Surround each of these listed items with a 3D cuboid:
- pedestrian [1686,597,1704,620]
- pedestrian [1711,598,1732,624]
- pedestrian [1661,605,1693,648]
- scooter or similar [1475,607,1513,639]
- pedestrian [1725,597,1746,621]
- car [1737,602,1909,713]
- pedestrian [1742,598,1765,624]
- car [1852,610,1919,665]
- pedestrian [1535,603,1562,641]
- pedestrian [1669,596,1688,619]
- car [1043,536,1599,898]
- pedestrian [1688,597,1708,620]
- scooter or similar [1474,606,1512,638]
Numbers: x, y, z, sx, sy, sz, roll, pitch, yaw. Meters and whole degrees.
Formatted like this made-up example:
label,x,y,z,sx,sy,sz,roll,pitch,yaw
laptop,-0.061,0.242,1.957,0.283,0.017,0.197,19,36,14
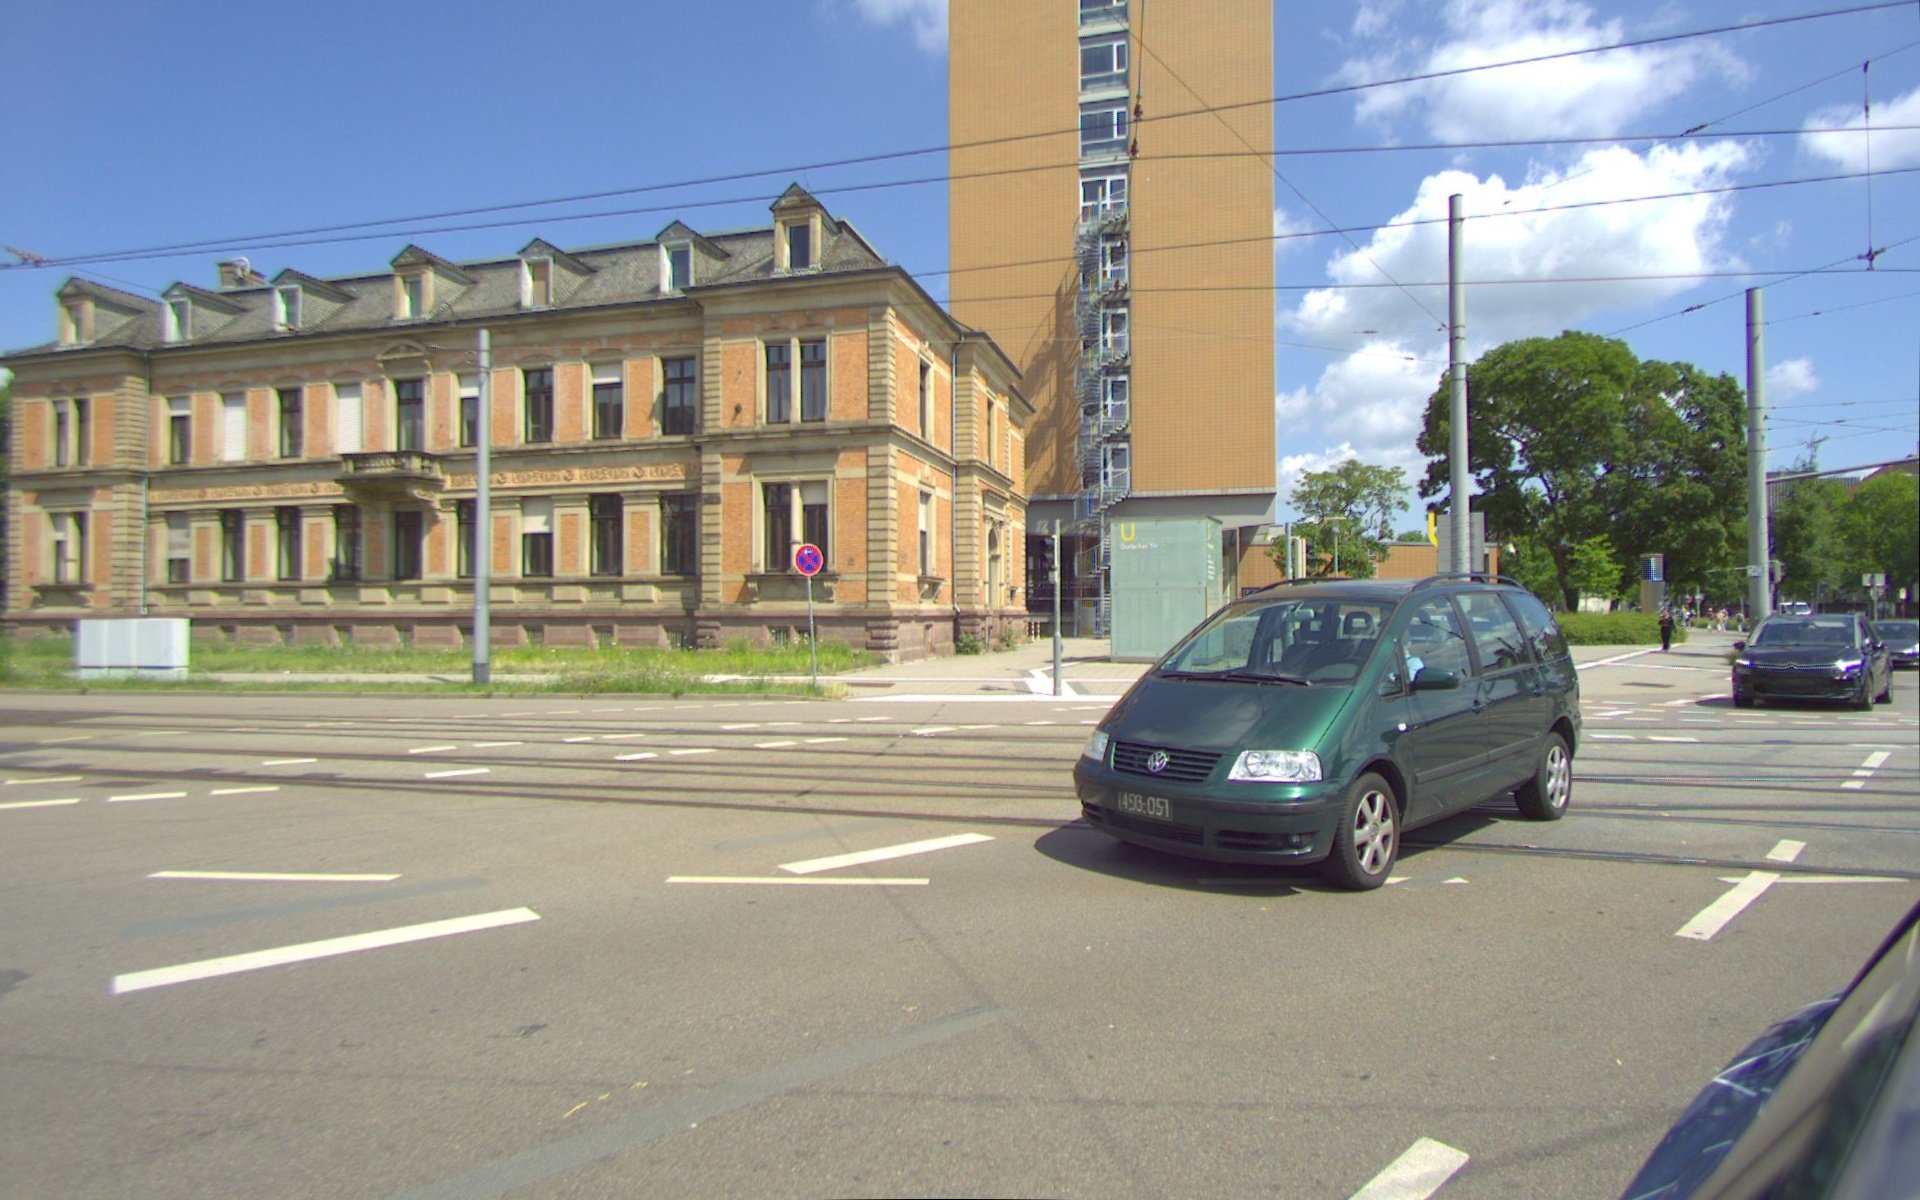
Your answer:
label,x,y,z,sx,sy,sz,roll,pitch,yaw
pedestrian,56.844,0.647,78.313,1.056,1.799,0.975,-1,-1,34
pedestrian,52.190,0.741,69.369,1.145,1.711,1.294,-1,-1,36
pedestrian,27.133,0.978,38.313,0.754,1.606,0.829,1,-1,-41
scooter or similar,20.980,0.898,39.800,1.305,1.239,0.602,-1,-1,28
pedestrian,55.321,0.636,72.220,1.145,1.711,1.294,-1,-1,36
car,15.219,0.885,17.772,4.353,1.636,1.870,-1,1,-44
pedestrian,54.009,0.733,68.901,1.145,1.711,1.294,-1,-1,36
car,28.595,1.080,30.570,4.349,1.504,1.871,-1,-1,-41
pedestrian,26.137,0.972,44.932,0.754,1.646,0.829,1,-1,-41
pedestrian,54.125,0.566,76.225,1.145,1.711,1.294,-1,-1,36
car,2.633,0.586,6.906,4.014,1.740,1.816,0,-3,-42
pedestrian,55.275,0.649,75.800,1.145,1.711,1.294,-1,-1,36
scooter or similar,21.337,0.879,40.527,1.305,1.239,0.602,-1,-1,28
